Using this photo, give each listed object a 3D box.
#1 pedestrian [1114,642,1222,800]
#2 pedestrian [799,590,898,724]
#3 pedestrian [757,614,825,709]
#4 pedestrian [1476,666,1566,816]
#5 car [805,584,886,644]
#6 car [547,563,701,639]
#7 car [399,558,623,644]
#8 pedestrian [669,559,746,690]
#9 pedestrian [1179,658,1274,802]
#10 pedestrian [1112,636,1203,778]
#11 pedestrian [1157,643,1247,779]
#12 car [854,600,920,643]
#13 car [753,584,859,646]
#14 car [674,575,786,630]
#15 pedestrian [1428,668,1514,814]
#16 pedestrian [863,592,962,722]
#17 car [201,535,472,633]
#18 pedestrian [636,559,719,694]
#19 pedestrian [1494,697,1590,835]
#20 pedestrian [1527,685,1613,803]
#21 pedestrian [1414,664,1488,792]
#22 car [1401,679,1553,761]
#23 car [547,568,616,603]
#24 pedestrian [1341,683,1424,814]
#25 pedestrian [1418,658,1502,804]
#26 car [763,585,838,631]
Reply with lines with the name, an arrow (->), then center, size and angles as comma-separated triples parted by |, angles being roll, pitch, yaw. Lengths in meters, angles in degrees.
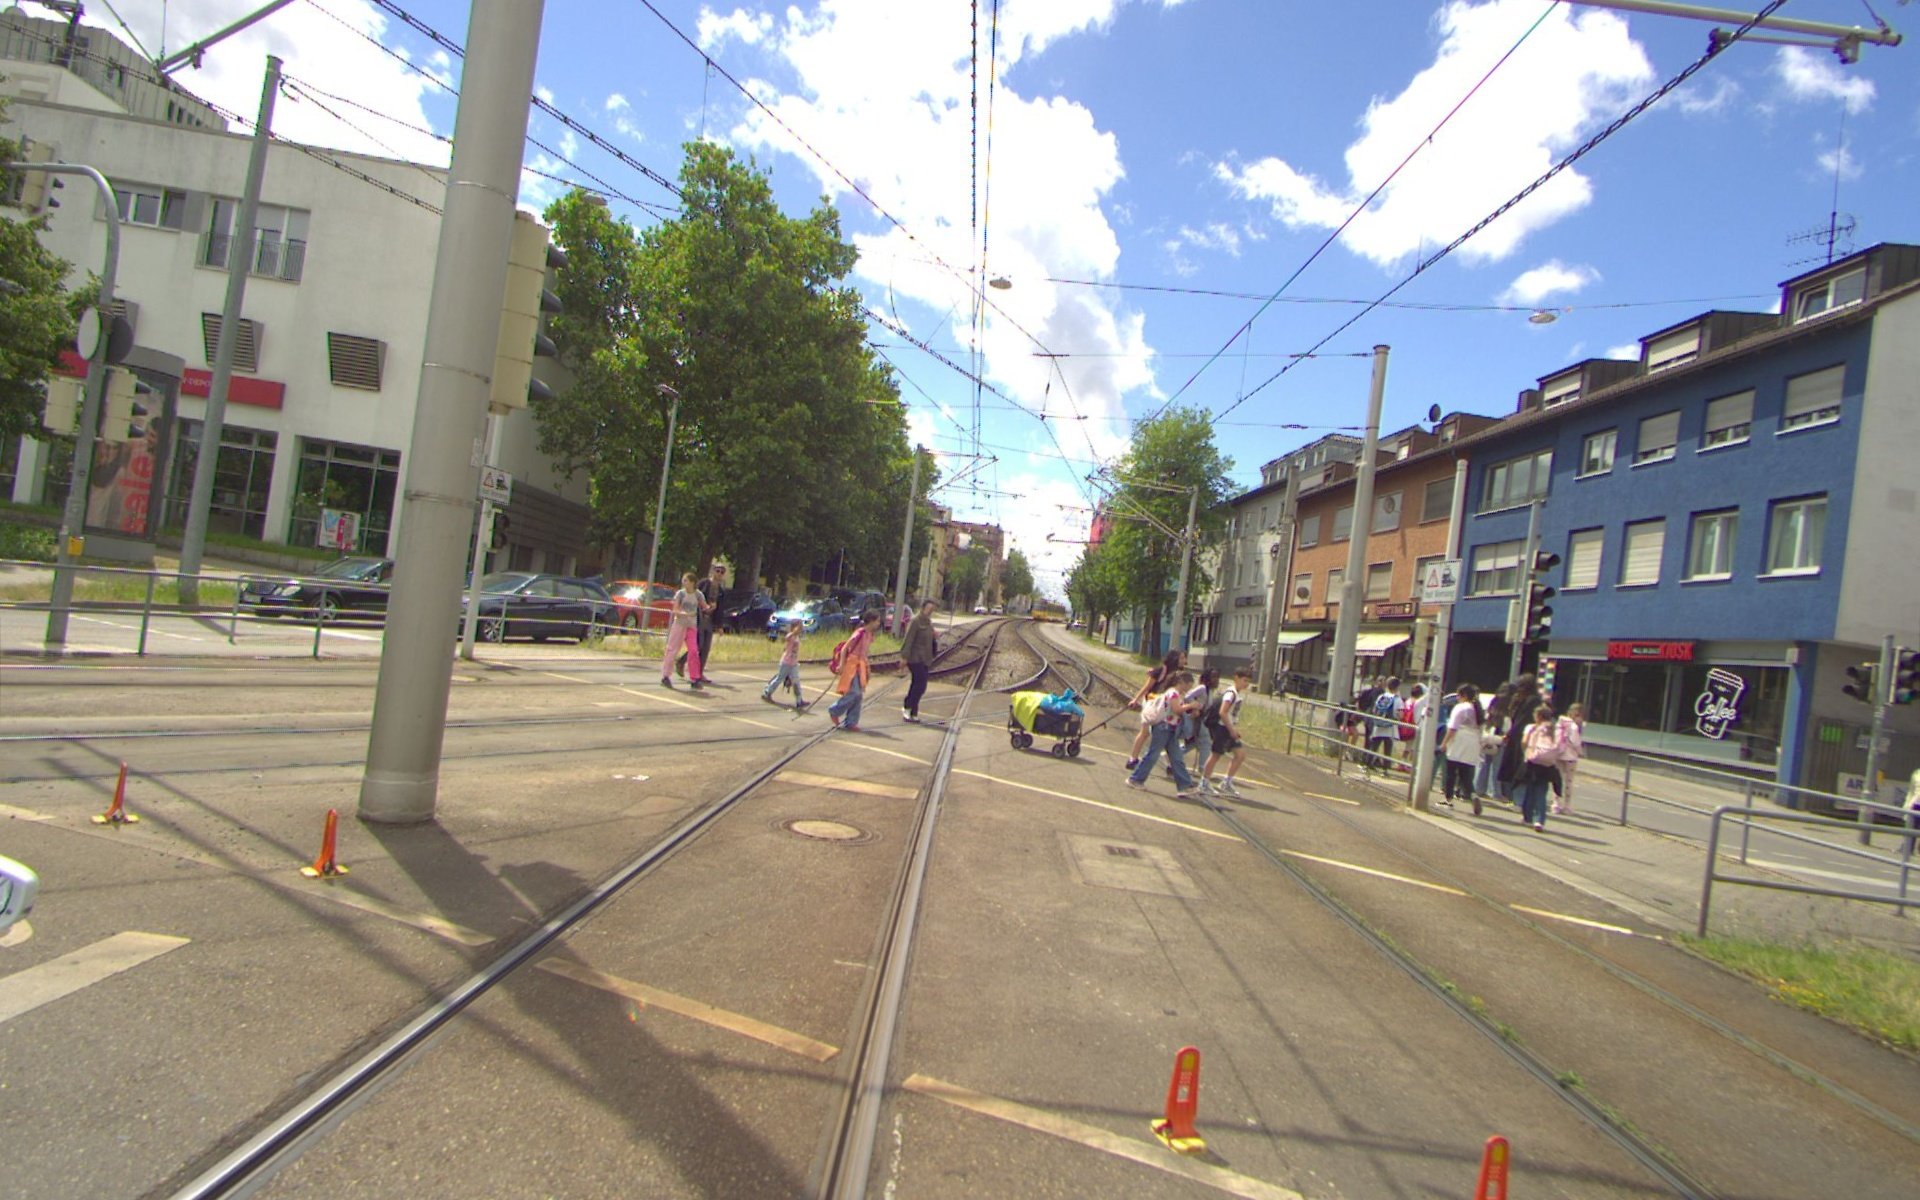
pedestrian -> 2.151, 1.235, 10.407 | 0.768, 1.488, 0.539 | 7, 0, 38
pedestrian -> -1.364, 0.684, 12.264 | 0.734, 1.499, 0.847 | 7, 0, -33
pedestrian -> -2.311, 0.832, 13.741 | 0.581, 1.182, 0.669 | 7, 0, -33
pedestrian -> 7.108, 1.765, 12.769 | 0.576, 1.771, 0.675 | 6, 0, 2
car -> -4.236, 0.579, 37.885 | 1.816, 1.903, 4.152 | 7, -1, 8
car -> -9.446, 0.088, 28.653 | 1.963, 1.661, 4.003 | 7, -2, 19
car -> -9.019, 0.064, 20.599 | 1.708, 1.456, 4.090 | 5, 0, 22
pedestrian -> -3.887, 0.357, 15.435 | 0.815, 1.864, 0.962 | 7, 0, -23
pedestrian -> 2.865, 1.380, 10.809 | 0.665, 1.417, 0.585 | 7, 0, 38
pedestrian -> 2.306, 1.239, 11.775 | 0.582, 1.546, 0.669 | 7, 0, -34
pedestrian -> 2.930, 1.336, 12.193 | 0.582, 1.509, 0.669 | 8, -1, -33
car -> -3.207, 0.980, 44.958 | 1.977, 1.573, 4.003 | 7, -1, 8
car -> -4.895, 0.532, 32.507 | 1.891, 1.658, 4.003 | 7, -1, 13
car -> -7.798, 0.139, 34.545 | 1.867, 1.481, 4.002 | 7, -1, 17
pedestrian -> 5.986, 1.630, 11.814 | 0.576, 1.584, 0.676 | 7, 0, 13
pedestrian -> -0.655, 0.793, 14.005 | 0.877, 1.671, 0.824 | 7, 0, 33
car -> -12.565, -0.246, 20.633 | 2.015, 1.482, 4.325 | 6, -1, 20
pedestrian -> -3.932, 0.365, 14.008 | 0.745, 1.771, 0.686 | 7, 0, -35
pedestrian -> 6.484, 1.828, 11.199 | 0.775, 1.392, 0.580 | 7, 1, -43
pedestrian -> 7.956, 1.861, 13.147 | 0.623, 1.392, 0.676 | 7, 0, 11
pedestrian -> 7.300, 1.882, 14.978 | 0.576, 1.771, 0.675 | 6, 0, 2
car -> 13.745, 3.149, 27.049 | 1.682, 1.550, 3.999 | 9, -1, -3
car -> -25.310, -0.941, 67.394 | 3.936, 1.665, 1.621 | 9, -2, -11
pedestrian -> 6.195, 2.170, 14.765 | 0.581, 1.771, 0.746 | 7, 0, -33
pedestrian -> 6.494, 1.681, 13.093 | 0.576, 1.771, 0.675 | 6, 0, 2
car -> -6.447, 0.360, 41.129 | 1.962, 1.602, 4.002 | 6, -1, 5
